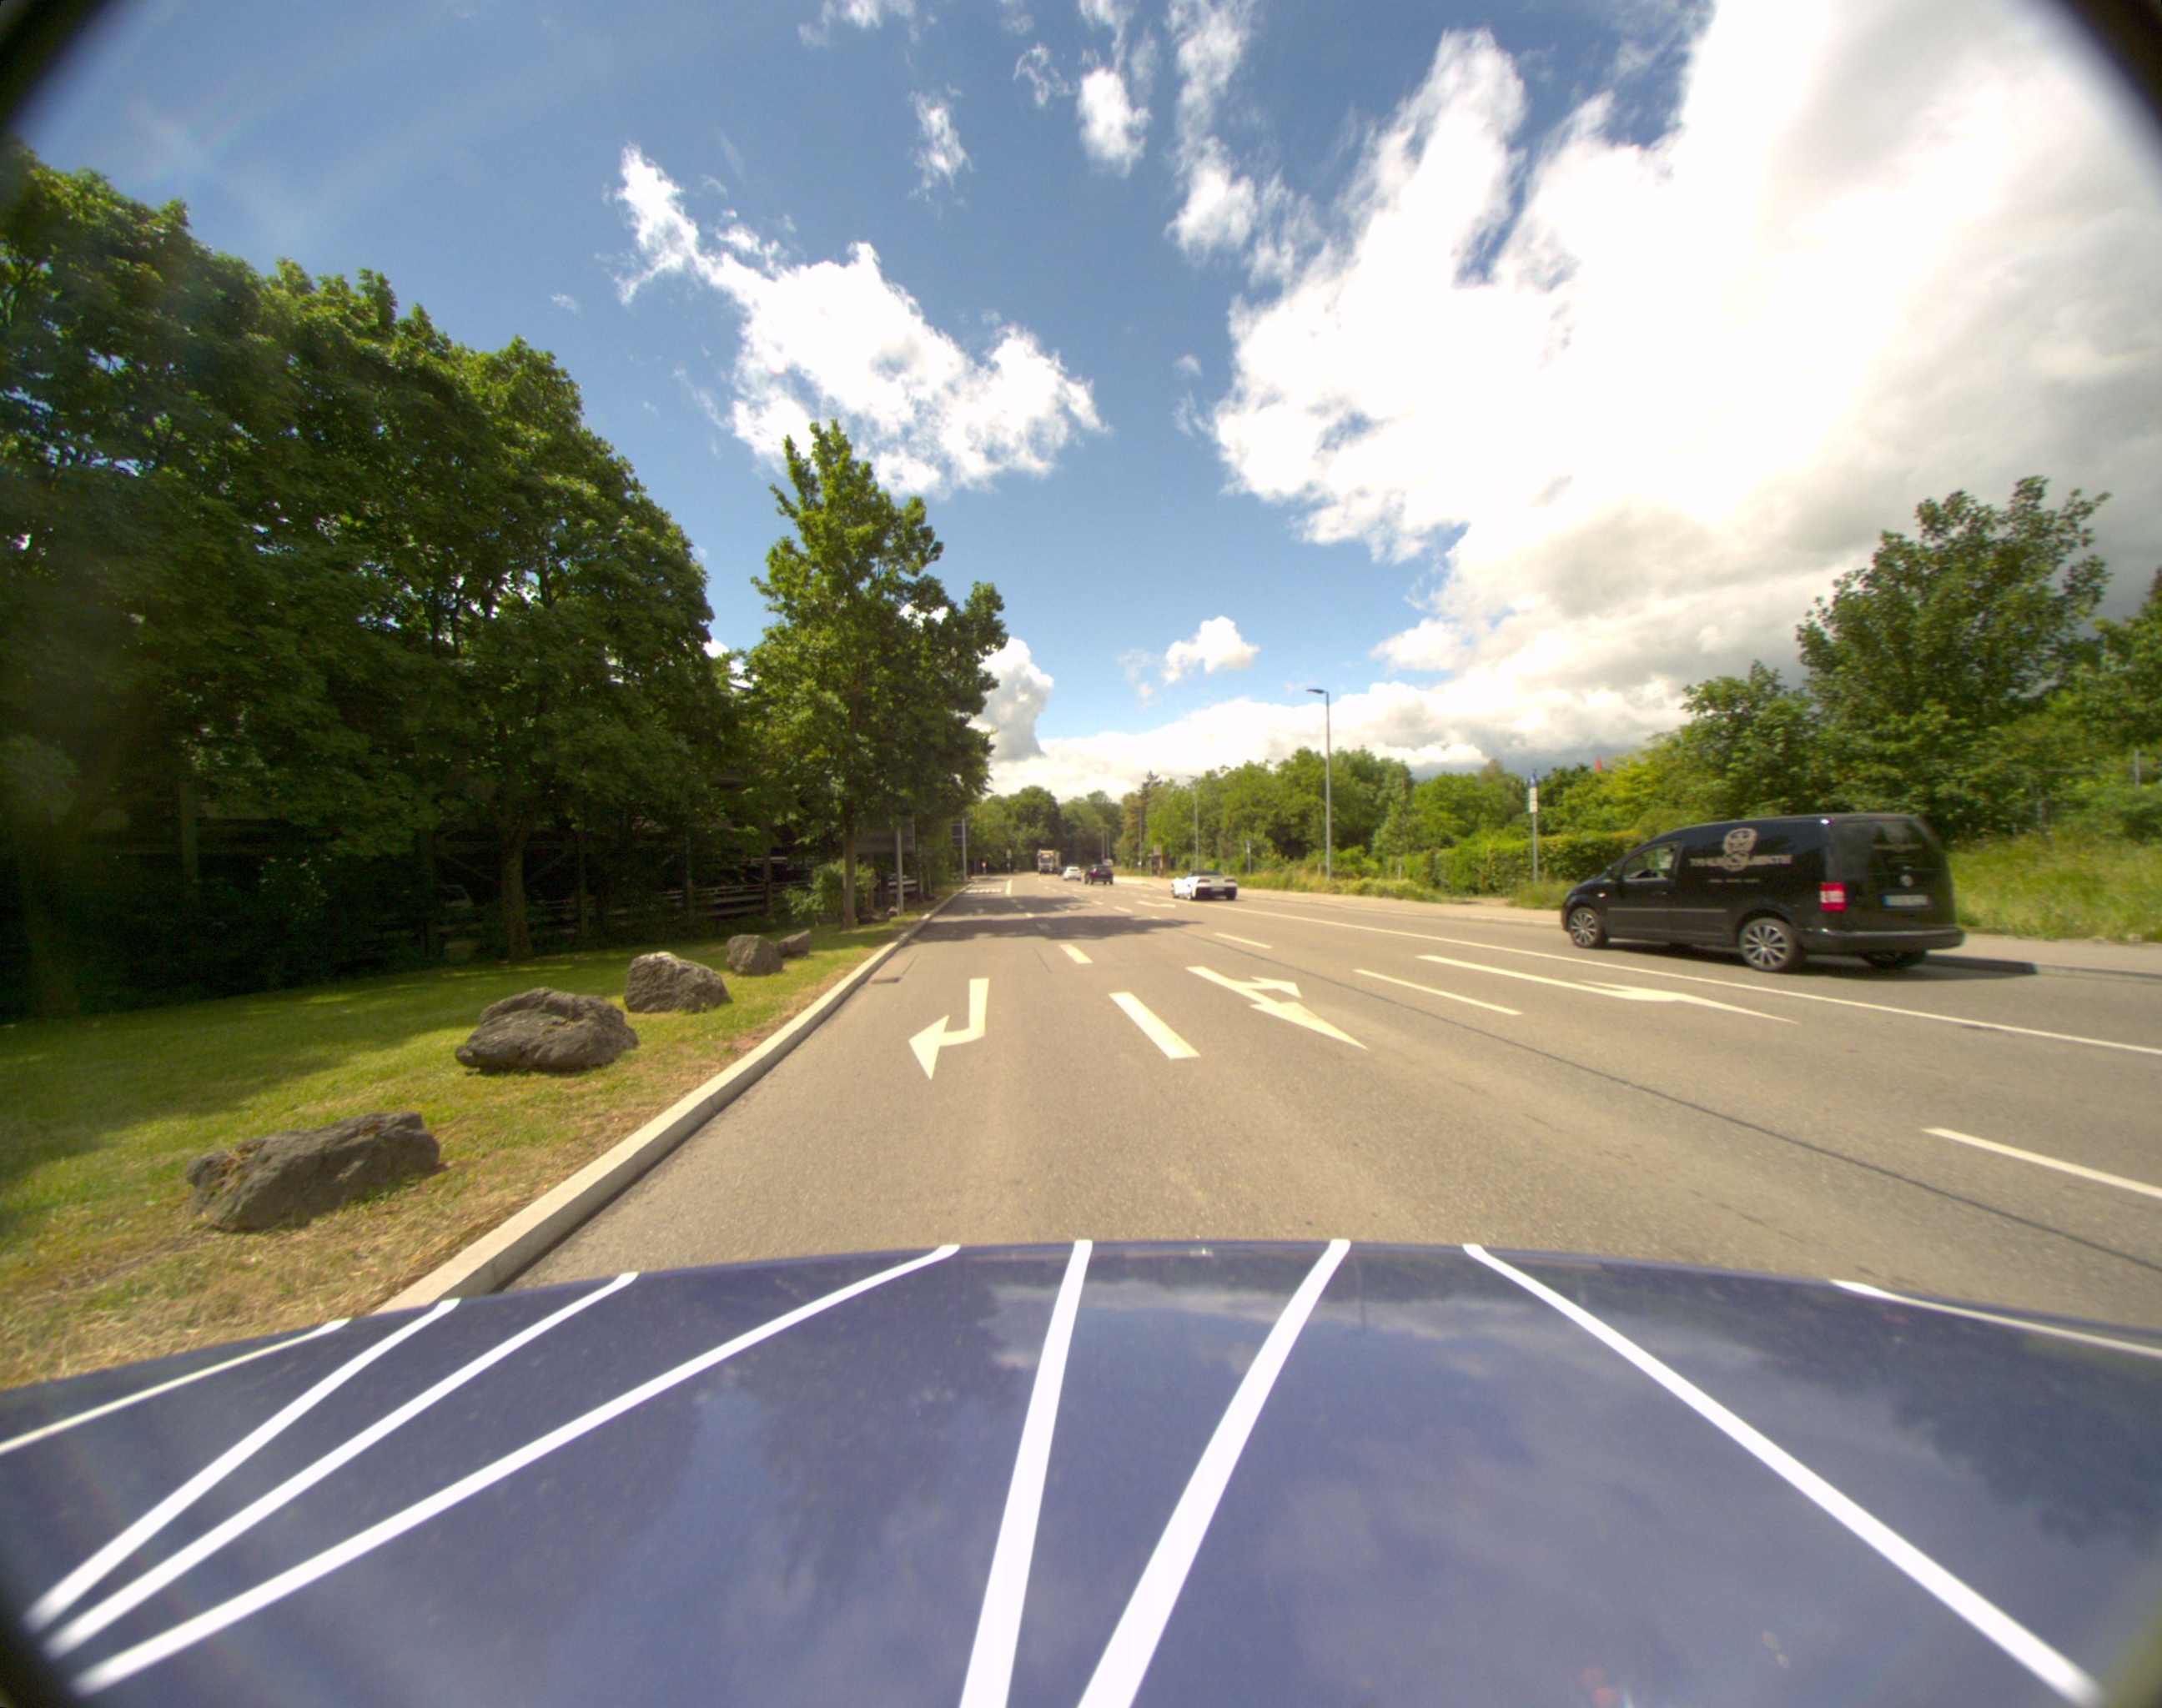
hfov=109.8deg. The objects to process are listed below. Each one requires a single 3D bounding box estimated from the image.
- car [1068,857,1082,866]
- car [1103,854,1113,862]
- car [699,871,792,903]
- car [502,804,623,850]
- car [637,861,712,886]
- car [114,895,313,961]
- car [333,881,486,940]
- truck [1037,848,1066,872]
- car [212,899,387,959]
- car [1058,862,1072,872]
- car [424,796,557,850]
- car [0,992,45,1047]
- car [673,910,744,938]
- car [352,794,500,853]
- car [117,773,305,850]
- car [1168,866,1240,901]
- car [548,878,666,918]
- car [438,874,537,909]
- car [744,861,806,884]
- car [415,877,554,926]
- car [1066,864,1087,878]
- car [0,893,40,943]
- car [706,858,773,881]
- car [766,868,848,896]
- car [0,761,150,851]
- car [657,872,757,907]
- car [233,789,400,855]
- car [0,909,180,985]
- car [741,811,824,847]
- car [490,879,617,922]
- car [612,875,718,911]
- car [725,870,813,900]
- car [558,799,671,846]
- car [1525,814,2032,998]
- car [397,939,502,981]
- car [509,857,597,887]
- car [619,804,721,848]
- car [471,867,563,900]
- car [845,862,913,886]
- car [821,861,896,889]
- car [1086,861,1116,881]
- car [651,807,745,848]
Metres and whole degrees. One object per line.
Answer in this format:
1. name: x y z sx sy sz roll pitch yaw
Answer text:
1. car: -1.071 1.291 131.748 1.826 1.548 4.632 0 -1 7
2. car: 6.958 1.098 192.765 1.841 1.783 3.905 -4 0 10
3. car: -15.865 1.570 35.963 3.849 1.384 1.697 -2 0 18
4. car: -18.495 -0.930 27.140 3.696 1.422 1.662 -2 -2 19
5. car: -24.513 1.150 45.816 3.849 1.477 1.755 0 1 18
6. car: -21.285 1.773 18.674 3.849 1.384 1.779 -2 0 18
7. car: -20.458 1.703 23.178 3.849 1.616 1.697 -2 0 18
8. truck: -4.800 0.979 127.126 3.239 3.838 9.878 0 1 8
9. car: -20.971 1.980 20.415 3.849 1.384 1.697 -2 0 18
10. car: -2.328 1.916 112.207 1.770 1.433 4.378 0 0 4
11. car: -19.558 -0.974 25.194 3.696 1.532 1.730 -2 -2 19
12. car: -32.095 4.775 21.718 3.790 1.324 1.779 -2 0 18
13. car: -23.716 4.436 48.400 3.849 1.457 1.755 0 1 18
14. car: -19.743 -0.874 22.924 3.696 1.532 1.730 -2 -2 19
15. car: -21.278 -0.967 18.601 3.696 1.609 1.730 -2 -2 19
16. car: 5.092 1.185 32.101 1.910 1.284 4.607 -1 0 -6
17. car: -18.248 1.685 29.278 3.849 1.384 1.697 -2 0 18
18. car: -27.407 1.698 35.091 3.849 1.477 1.697 0 1 18
19. car: -22.063 1.308 54.790 3.926 1.542 1.771 1 1 19
20. car: -19.681 1.559 25.094 3.849 1.481 1.697 -2 0 18
21. car: -0.495 1.829 80.957 1.772 1.433 3.897 0 0 -8
22. car: -32.229 1.867 21.721 3.790 1.384 1.779 -2 0 18
23. car: -22.605 1.004 50.324 3.849 1.434 1.755 0 1 18
24. car: -14.762 1.498 40.927 3.849 1.384 1.697 -2 0 18
25. car: -22.196 -0.945 16.226 3.696 1.609 1.730 -2 -2 19
26. car: -16.633 1.577 33.822 3.849 1.384 1.697 -2 0 18
27. car: -20.669 -0.811 20.576 3.696 1.532 1.730 -2 -2 19
28. car: -22.122 1.971 16.609 3.790 1.384 1.779 -2 0 18
29. car: -15.023 -1.234 38.285 3.696 1.609 1.662 -2 -2 19
30. car: -18.870 1.657 27.204 3.849 1.384 1.697 -2 0 18
31. car: -17.524 1.634 32.065 3.849 1.384 1.697 -2 0 18
32. car: -15.580 1.552 38.006 3.849 1.384 1.697 -2 0 18
33. car: -17.818 -1.153 29.042 3.696 1.553 1.662 -2 -2 19
34. car: 8.478 0.580 10.051 1.791 1.768 4.809 -2 -1 -9
35. car: -27.721 4.633 33.361 3.849 1.438 1.697 0 1 18
36. car: -27.120 0.896 39.040 3.849 1.477 1.697 0 1 18
37. car: -17.121 -1.132 31.668 3.696 1.609 1.662 -2 -2 19
38. car: -27.647 1.424 37.270 3.849 1.477 1.697 0 1 18
39. car: -12.494 1.242 47.018 3.696 1.403 1.661 -2 0 18
40. car: -13.173 1.255 45.028 3.849 1.505 1.839 -2 0 18
41. car: 1.616 1.377 63.083 1.826 1.644 4.530 -1 0 -6
42. car: -17.174 -1.159 34.091 3.696 1.609 1.662 -2 -2 19
